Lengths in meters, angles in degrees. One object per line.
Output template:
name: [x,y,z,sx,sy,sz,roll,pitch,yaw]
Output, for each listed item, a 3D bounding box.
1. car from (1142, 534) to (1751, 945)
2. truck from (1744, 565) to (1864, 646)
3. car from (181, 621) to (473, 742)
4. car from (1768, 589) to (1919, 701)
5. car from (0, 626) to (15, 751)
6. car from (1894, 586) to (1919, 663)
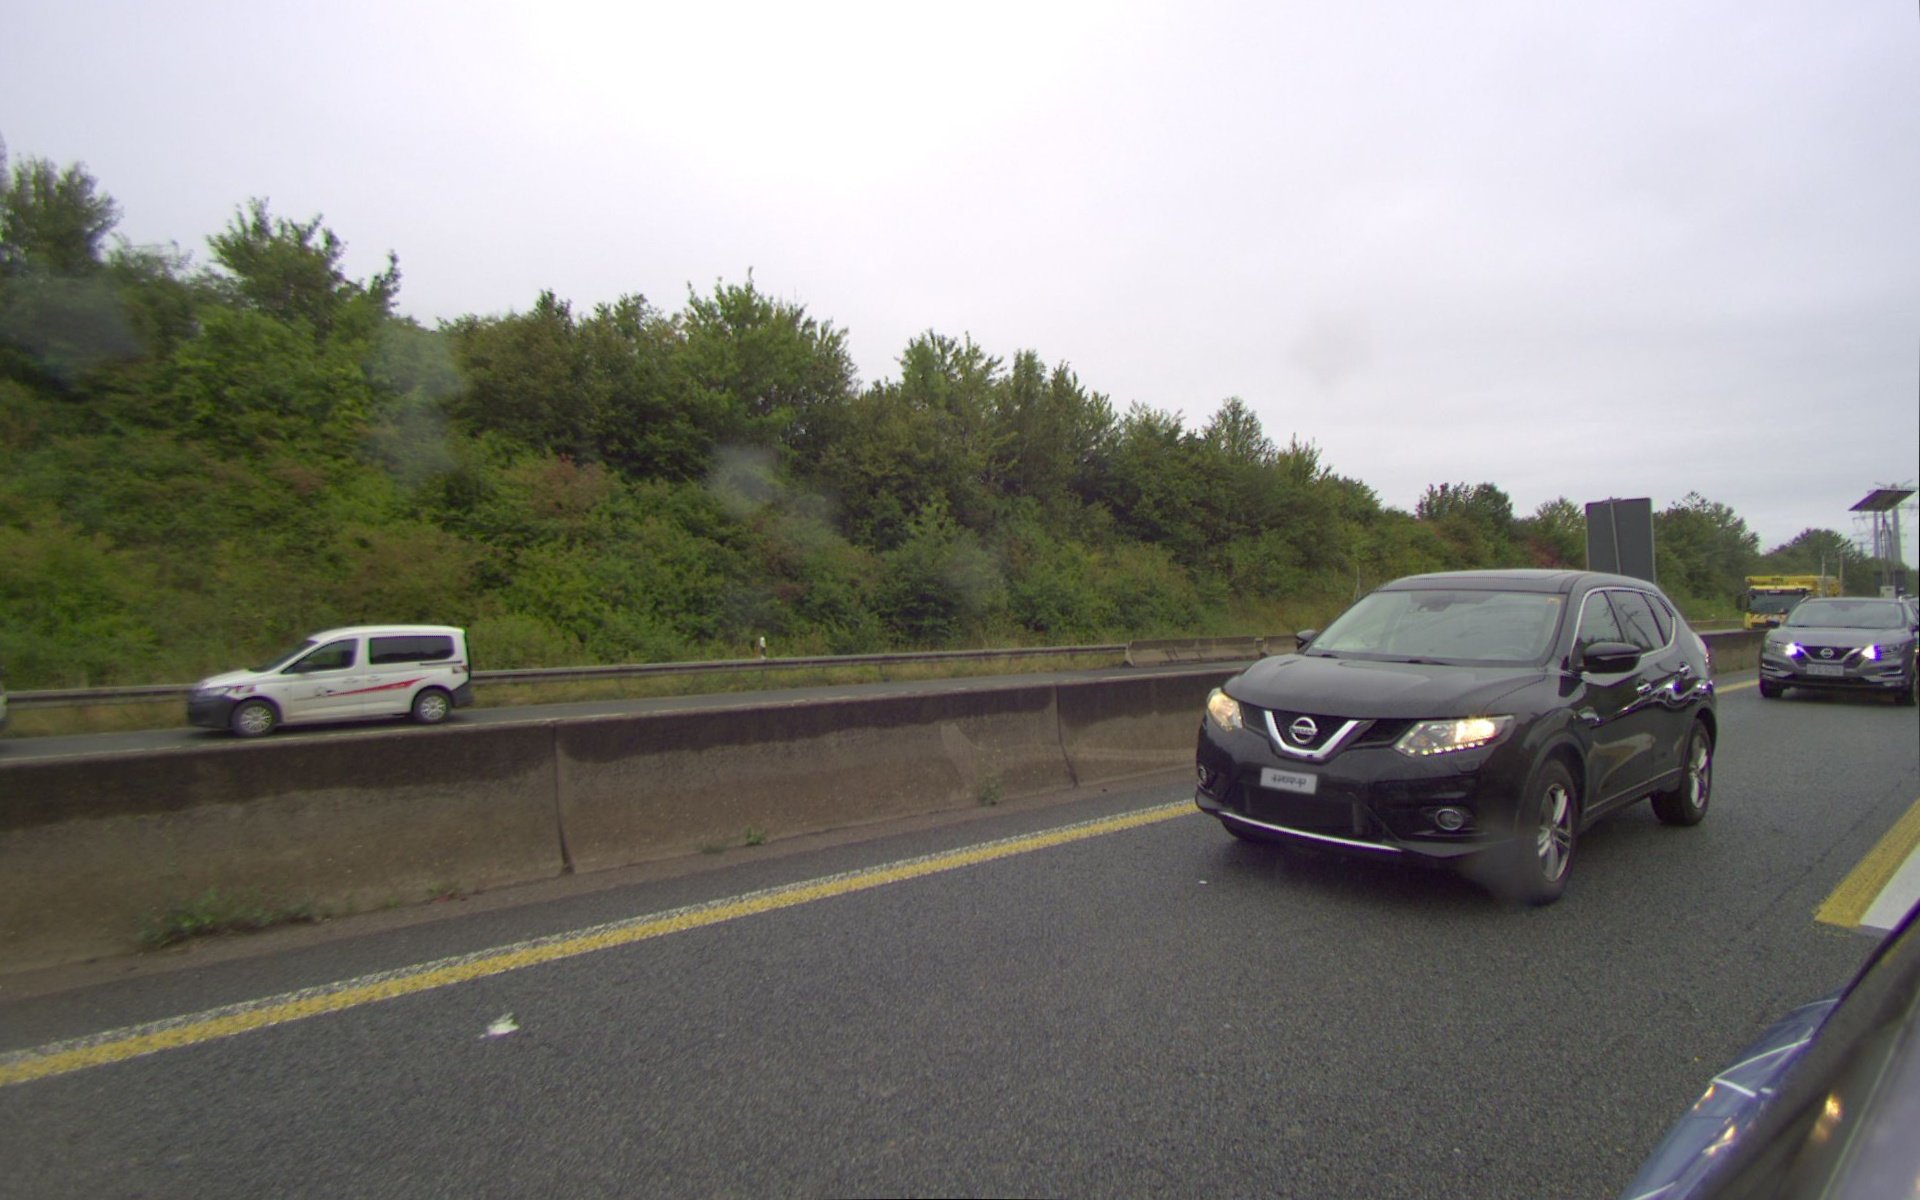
car: [3.327,0.544,6.414,4.561,1.696,1.892,-1,1,-42]
truck: [39.689,0.165,47.443,9.405,3.467,2.618,-1,1,-40]
car: [-11.316,1.353,18.262,4.255,1.792,1.731,-1,1,-42]
car: [14.083,0.596,15.691,4.053,1.509,1.782,-1,1,-42]
car: [-16.118,1.331,14.144,4.195,1.780,1.731,-1,1,-42]
car: [22.250,0.506,22.523,4.053,1.618,1.782,-1,1,-42]
